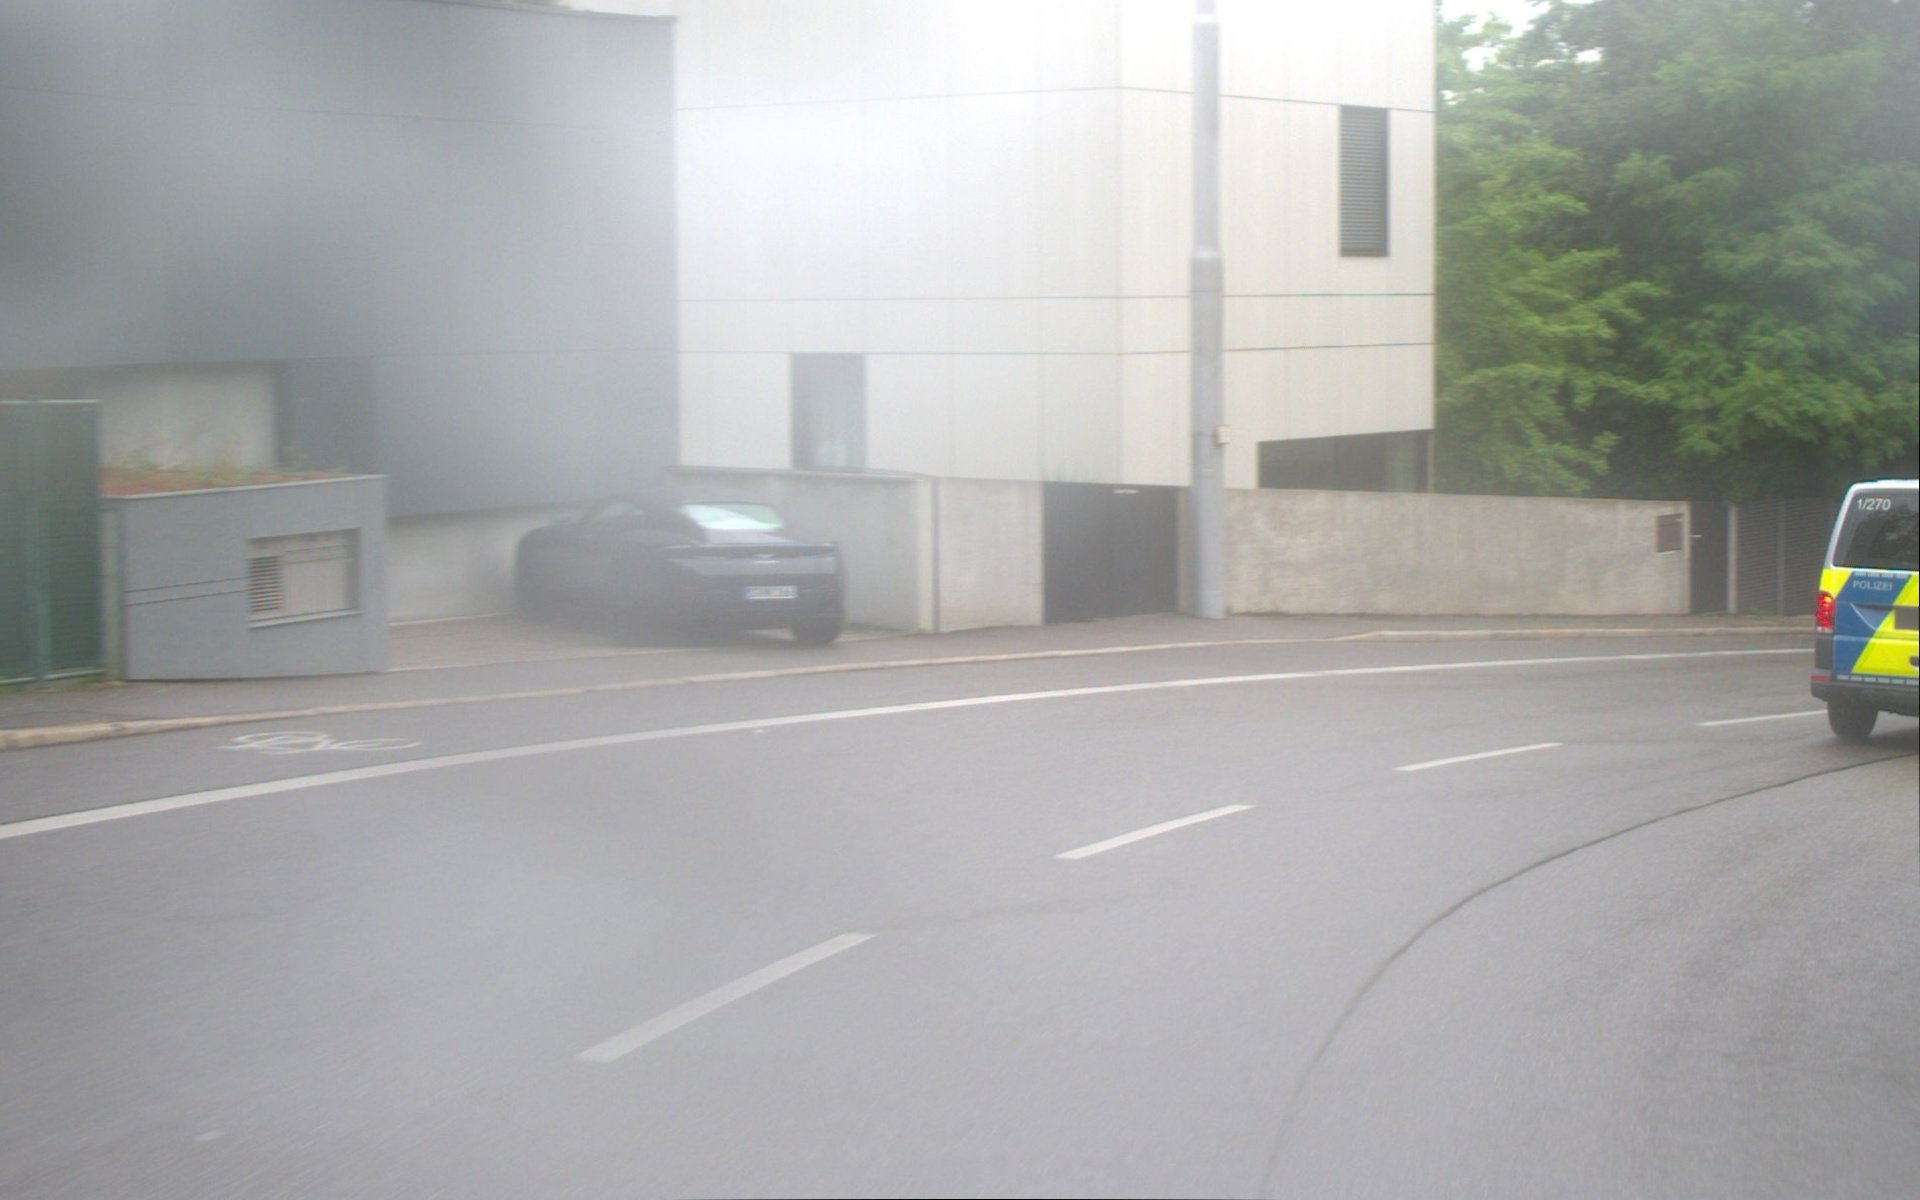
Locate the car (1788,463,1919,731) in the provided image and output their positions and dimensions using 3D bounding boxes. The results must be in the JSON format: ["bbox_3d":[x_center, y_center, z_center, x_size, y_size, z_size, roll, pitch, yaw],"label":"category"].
[{"bbox_3d":[7.980,-0.022,26.130,1.997,1.887,4.562,1,0,31],"label":"car"}]

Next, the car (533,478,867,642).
[{"bbox_3d":[-2.359,-0.387,30.181,1.891,1.296,4.002,0,2,-20],"label":"car"}]
